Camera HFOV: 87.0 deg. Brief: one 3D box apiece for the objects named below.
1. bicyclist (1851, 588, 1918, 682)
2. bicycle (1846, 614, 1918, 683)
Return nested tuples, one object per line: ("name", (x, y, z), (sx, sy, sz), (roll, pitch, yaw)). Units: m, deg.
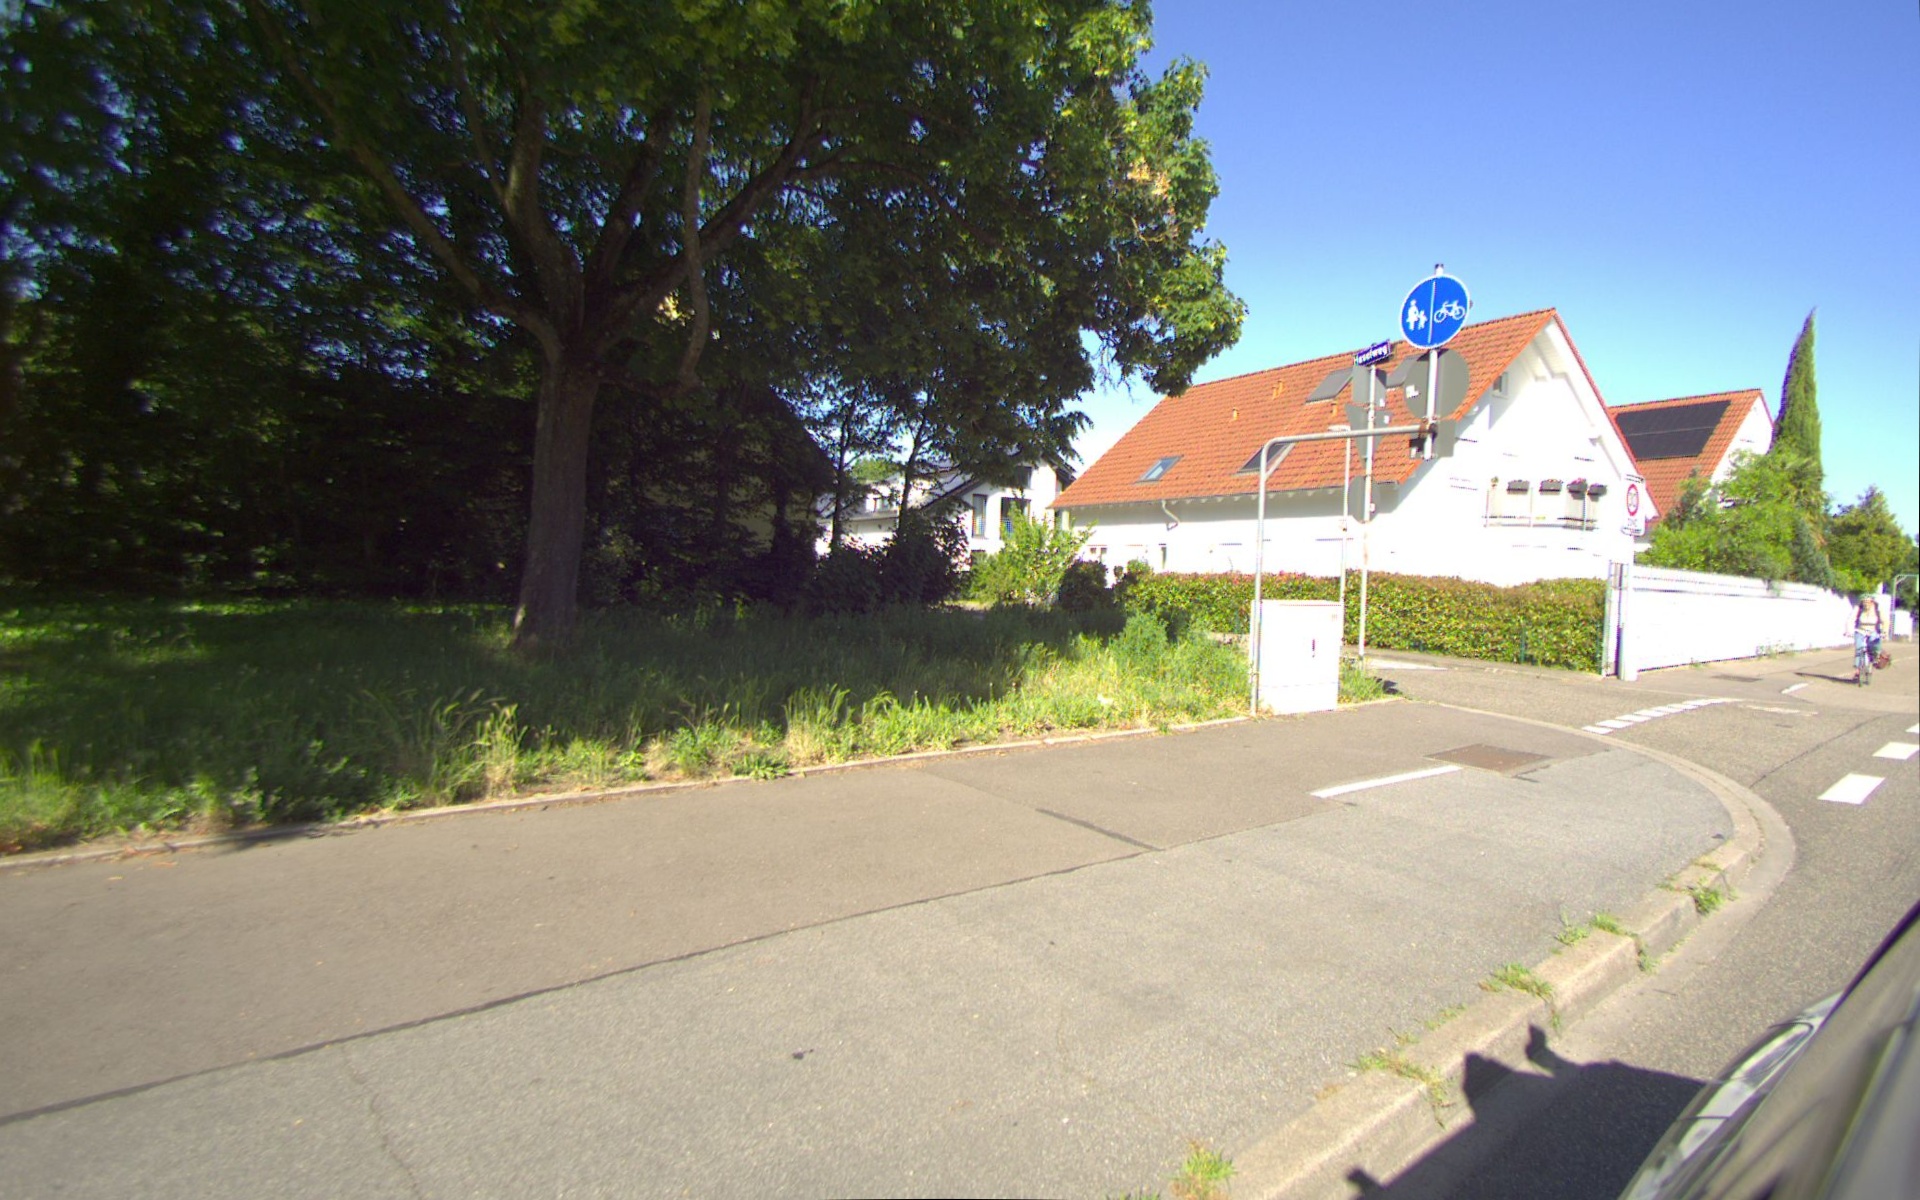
("bicyclist", (17.035, 0.635, 18.652), (0.964, 1.652, 0.632), (2, 4, -39))
("bicycle", (17.002, 0.875, 18.651), (2.101, 1.168, 0.576), (2, 4, -39))
